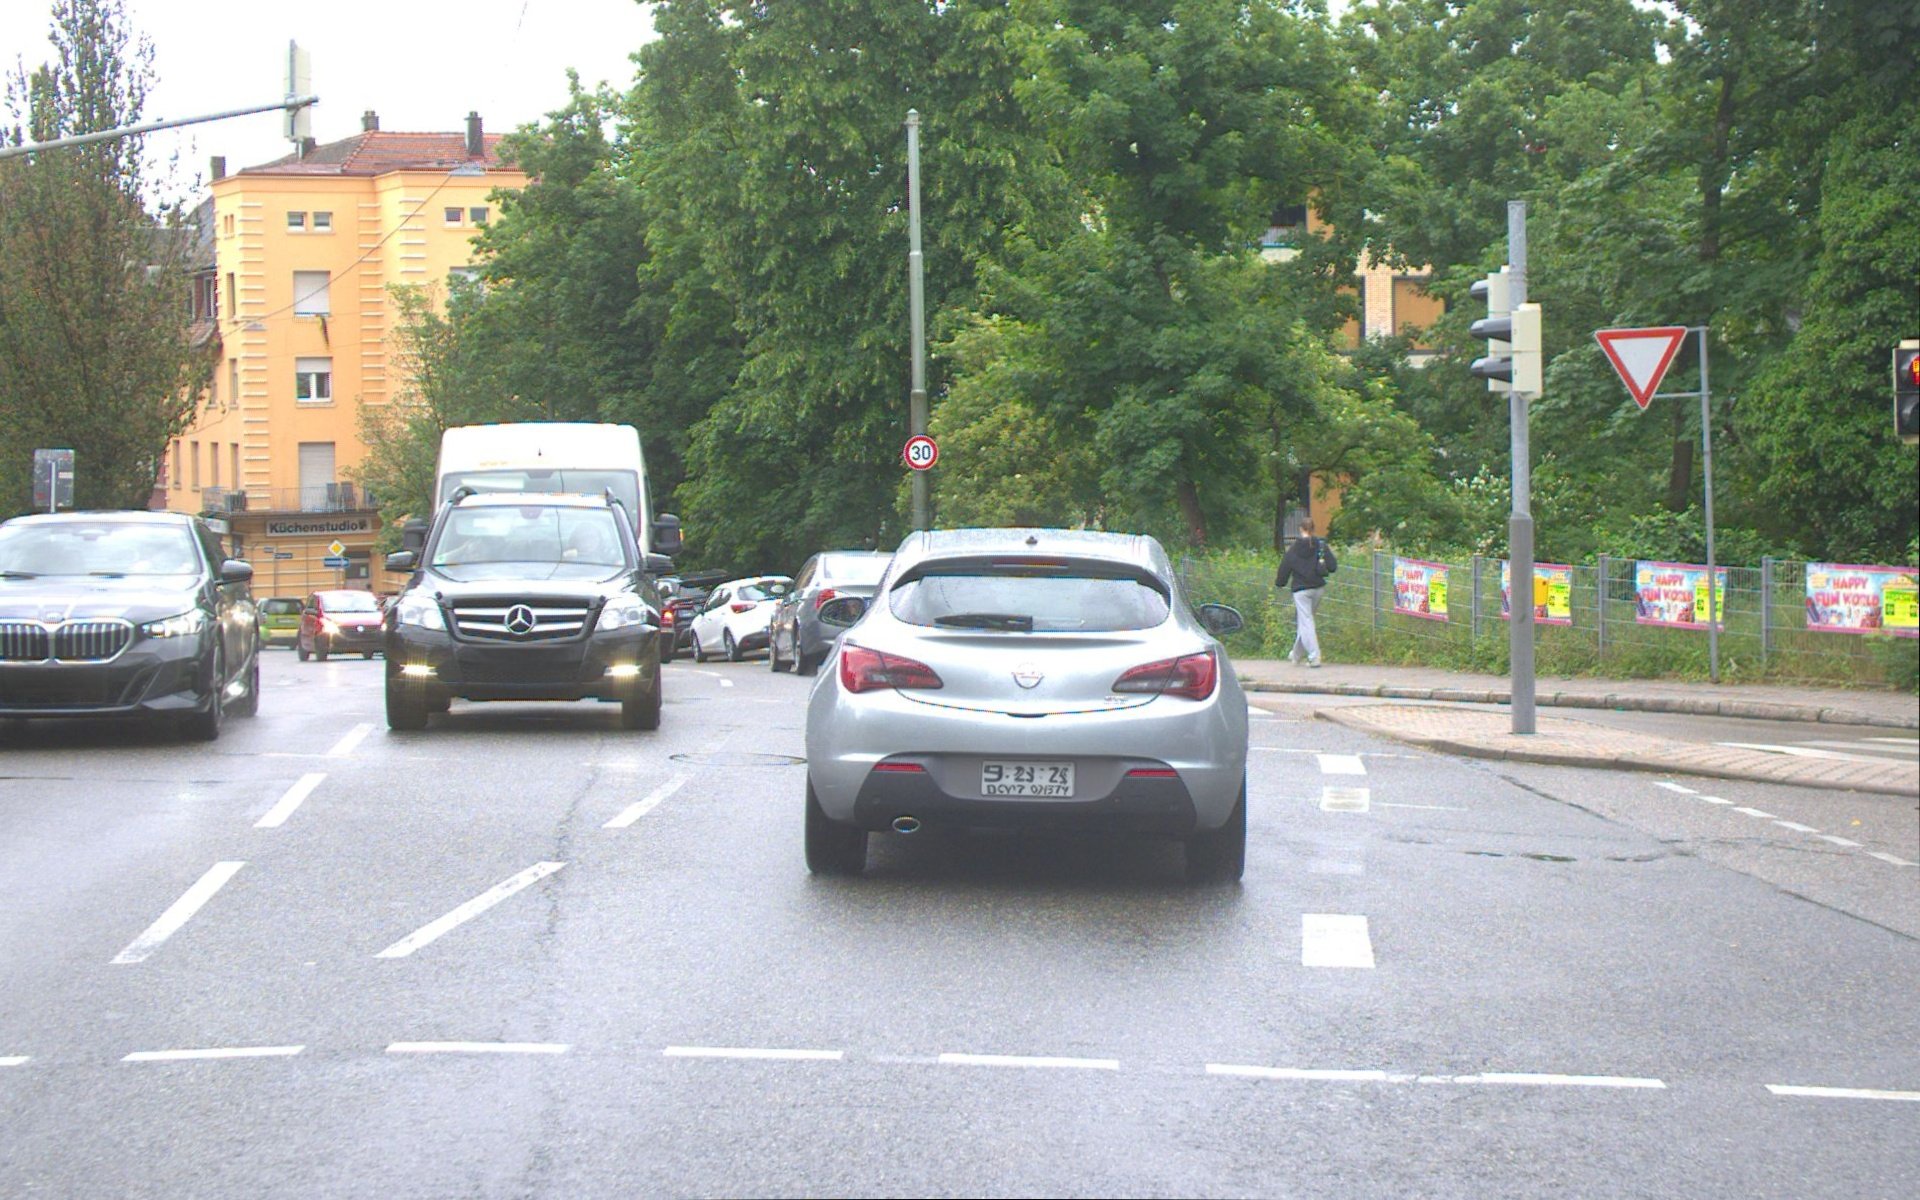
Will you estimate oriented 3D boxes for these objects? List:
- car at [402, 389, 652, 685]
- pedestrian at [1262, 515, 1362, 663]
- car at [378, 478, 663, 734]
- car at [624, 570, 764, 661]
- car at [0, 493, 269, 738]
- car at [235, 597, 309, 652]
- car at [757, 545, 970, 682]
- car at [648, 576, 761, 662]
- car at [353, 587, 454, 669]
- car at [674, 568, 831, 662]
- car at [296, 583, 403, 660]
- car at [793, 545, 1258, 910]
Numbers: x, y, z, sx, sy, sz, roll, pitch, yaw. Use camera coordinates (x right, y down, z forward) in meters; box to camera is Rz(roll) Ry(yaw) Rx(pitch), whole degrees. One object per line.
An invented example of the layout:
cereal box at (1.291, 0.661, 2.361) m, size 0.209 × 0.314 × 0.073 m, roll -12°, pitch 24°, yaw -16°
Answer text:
car at (-4.043, -0.541, 32.559) m, size 2.117 × 2.537 × 5.540 m, roll -1°, pitch 0°, yaw -6°
pedestrian at (3.933, -0.121, 38.465) m, size 0.765 × 1.600 × 0.966 m, roll -3°, pitch 0°, yaw -12°
car at (-3.056, 0.001, 24.476) m, size 1.821 × 1.646 × 4.347 m, roll 1°, pitch 1°, yaw -5°
car at (-5.416, 0.314, 69.497) m, size 1.821 × 1.677 × 4.805 m, roll -3°, pitch 1°, yaw -16°
car at (-5.874, 0.026, 23.728) m, size 1.852 × 1.481 × 5.368 m, roll -1°, pitch 2°, yaw -8°
car at (-19.900, 0.701, 99.389) m, size 1.639 × 1.531 × 3.717 m, roll -1°, pitch 0°, yaw -18°
car at (-1.133, 0.190, 38.405) m, size 1.775 × 1.425 × 3.786 m, roll -1°, pitch -1°, yaw -11°
car at (-4.384, 0.314, 58.563) m, size 1.382 × 1.407 × 3.457 m, roll -1°, pitch 0°, yaw -13°
car at (-13.338, 0.646, 82.264) m, size 1.639 × 1.683 × 3.718 m, roll -1°, pitch 4°, yaw -21°
car at (-3.897, 0.299, 64.001) m, size 1.814 × 1.490 × 4.001 m, roll -6°, pitch 1°, yaw -18°
car at (-13.204, 0.462, 74.179) m, size 1.845 × 1.578 × 4.280 m, roll 1°, pitch 0°, yaw -16°
car at (0.163, 0.468, 15.476) m, size 1.814 × 1.425 × 4.001 m, roll 0°, pitch 1°, yaw -3°
